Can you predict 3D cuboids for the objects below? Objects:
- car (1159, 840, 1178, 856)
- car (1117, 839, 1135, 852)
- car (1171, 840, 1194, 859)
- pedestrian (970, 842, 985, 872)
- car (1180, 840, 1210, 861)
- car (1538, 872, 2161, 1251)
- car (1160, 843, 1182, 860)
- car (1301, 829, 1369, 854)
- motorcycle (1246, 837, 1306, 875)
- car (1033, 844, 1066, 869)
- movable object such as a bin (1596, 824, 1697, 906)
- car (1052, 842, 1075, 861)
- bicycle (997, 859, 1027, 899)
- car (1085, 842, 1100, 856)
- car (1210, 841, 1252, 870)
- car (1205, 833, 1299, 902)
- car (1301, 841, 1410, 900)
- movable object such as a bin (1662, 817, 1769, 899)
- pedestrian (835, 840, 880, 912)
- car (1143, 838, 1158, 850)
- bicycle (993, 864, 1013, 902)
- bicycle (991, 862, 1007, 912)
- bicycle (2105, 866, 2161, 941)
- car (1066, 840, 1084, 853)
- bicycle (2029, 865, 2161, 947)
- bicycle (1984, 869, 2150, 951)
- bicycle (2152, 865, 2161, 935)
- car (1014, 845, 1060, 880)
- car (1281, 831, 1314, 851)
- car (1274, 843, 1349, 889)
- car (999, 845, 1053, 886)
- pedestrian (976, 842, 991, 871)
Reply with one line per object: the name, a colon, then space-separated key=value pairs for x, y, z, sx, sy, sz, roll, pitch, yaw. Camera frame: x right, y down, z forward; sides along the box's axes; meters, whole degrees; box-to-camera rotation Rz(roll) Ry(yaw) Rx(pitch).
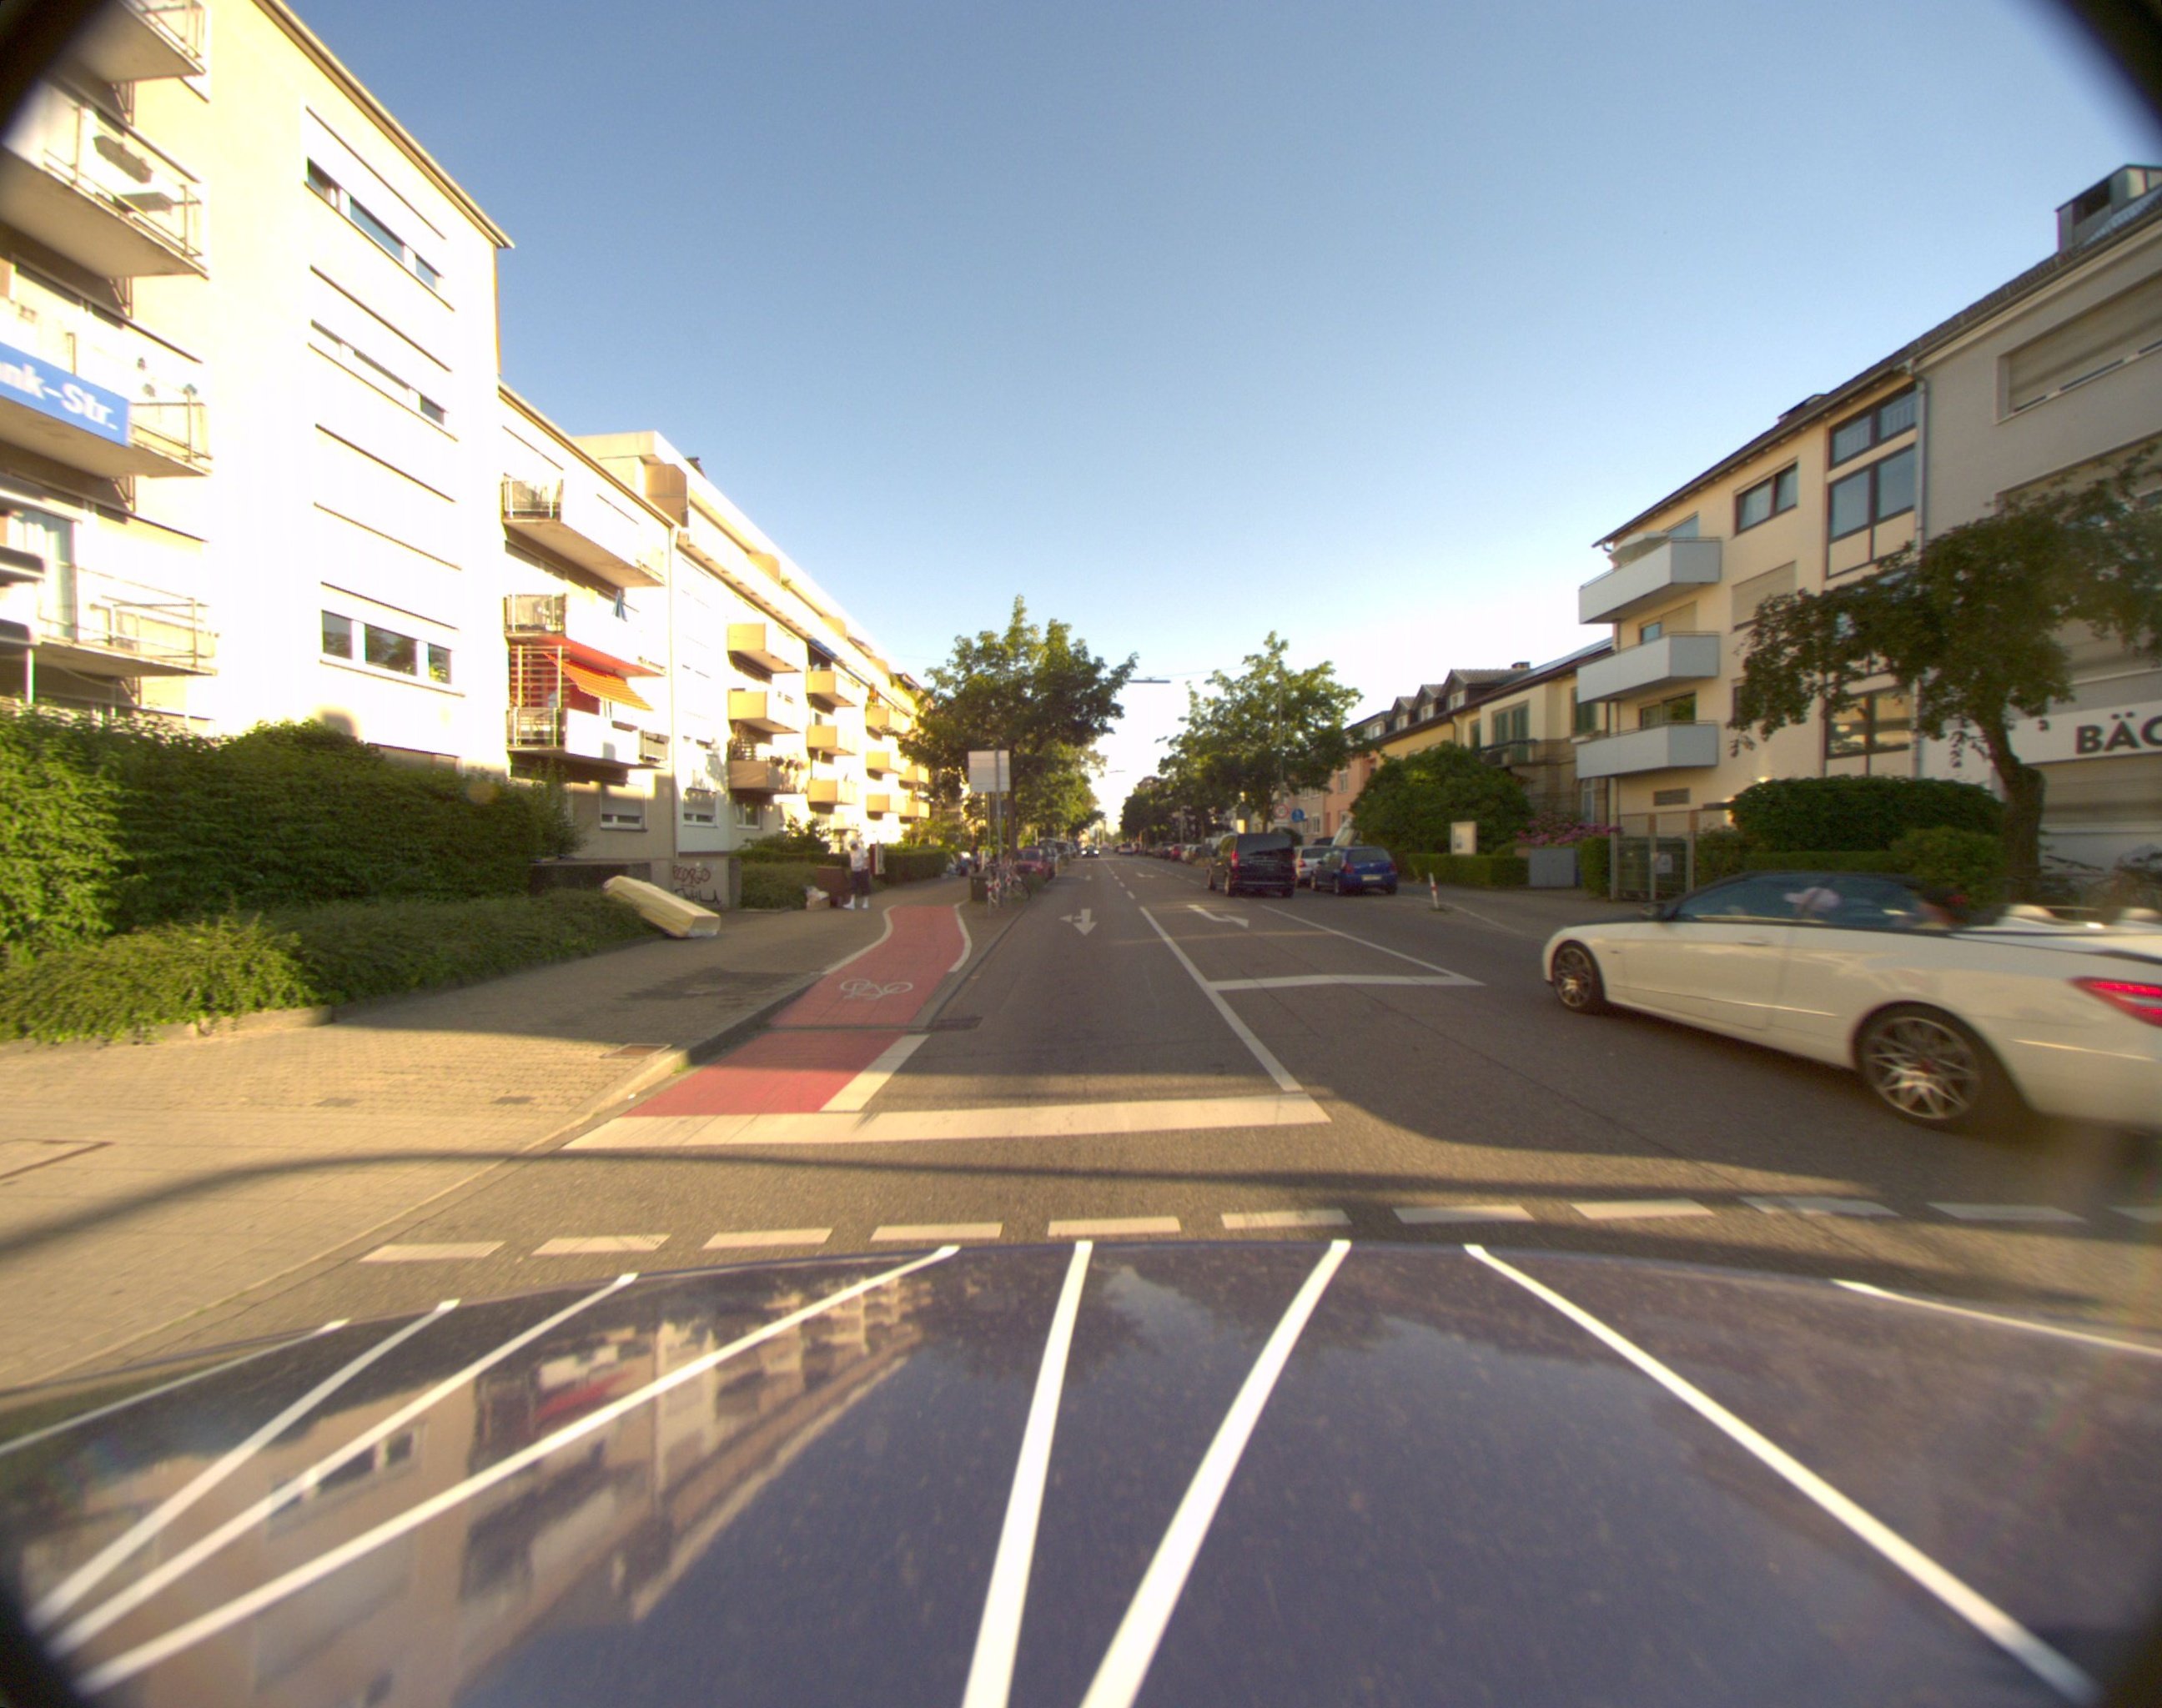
car: x=9.313 y=-0.625 z=81.137 sx=1.692 sy=1.657 sz=3.659 roll=-1 pitch=1 yaw=1
car: x=6.184 y=-1.200 z=104.634 sx=1.843 sy=1.605 sz=4.406 roll=-1 pitch=1 yaw=-6
car: x=8.972 y=-0.434 z=67.546 sx=1.642 sy=1.555 sz=3.659 roll=-1 pitch=1 yaw=1
pedestrian: x=-5.817 y=0.155 z=42.706 sx=0.659 sy=1.673 sz=0.831 roll=0 pitch=2 yaw=6
car: x=9.255 y=-0.343 z=61.794 sx=1.842 sy=1.605 sz=4.408 roll=-1 pitch=1 yaw=1
car: x=5.204 y=0.876 z=4.879 sx=1.846 sy=1.312 sz=4.440 roll=0 pitch=1 yaw=0
car: x=8.755 y=-0.271 z=74.060 sx=1.692 sy=1.555 sz=3.659 roll=-1 pitch=1 yaw=1
car: x=17.203 y=-0.847 z=51.422 sx=4.416 sy=1.605 sz=1.838 roll=-2 pitch=2 yaw=-30
motorcycle: x=8.250 y=0.056 z=32.366 sx=1.263 sy=1.526 sz=2.887 roll=-1 pitch=2 yaw=-13
car: x=-1.982 y=0.111 z=49.068 sx=1.744 sy=1.509 sz=3.810 roll=-1 pitch=1 yaw=3
movable object such as a bin: x=12.415 y=0.218 z=16.729 sx=1.309 sy=1.649 sz=1.180 roll=-4 pitch=3 yaw=0
car: x=-1.497 y=-0.248 z=65.882 sx=1.744 sy=1.509 sz=3.810 roll=-1 pitch=1 yaw=3
bicycle: x=-2.103 y=0.745 z=23.439 sx=0.324 sy=1.139 sz=1.802 roll=0 pitch=2 yaw=14
car: x=1.314 y=-0.559 z=86.738 sx=1.641 sy=1.482 sz=4.414 roll=0 pitch=1 yaw=0
car: x=8.758 y=0.037 z=44.652 sx=1.734 sy=1.605 sz=4.196 roll=-1 pitch=1 yaw=1
car: x=5.077 y=0.320 z=23.100 sx=1.842 sy=1.866 sz=4.408 roll=-1 pitch=1 yaw=0
car: x=8.263 y=0.418 z=23.247 sx=1.810 sy=1.605 sz=3.949 roll=-1 pitch=1 yaw=-2
movable object such as a bin: x=13.790 y=0.067 z=16.567 sx=1.309 sy=1.649 sz=1.180 roll=-4 pitch=3 yaw=0
pedestrian: x=-5.309 y=0.515 z=18.098 sx=0.830 sy=1.673 sz=0.660 roll=0 pitch=2 yaw=5
car: x=9.116 y=-1.307 z=99.640 sx=1.642 sy=1.555 sz=3.659 roll=-1 pitch=1 yaw=1
bicycle: x=-2.158 y=0.799 z=21.186 sx=0.325 sy=0.981 sz=1.191 roll=0 pitch=2 yaw=5
bicycle: x=-2.074 y=0.813 z=19.264 sx=0.325 sy=1.139 sz=1.799 roll=-1 pitch=2 yaw=-4
bicycle: x=15.231 y=0.707 z=10.409 sx=0.439 sy=1.009 sz=1.477 roll=-1 pitch=2 yaw=3
car: x=-0.659 y=-0.888 z=87.315 sx=1.744 sy=1.509 sz=3.810 roll=-1 pitch=1 yaw=3
bicycle: x=14.332 y=0.692 z=10.587 sx=0.439 sy=1.009 sz=1.477 roll=-1 pitch=2 yaw=3
bicycle: x=13.727 y=0.747 z=10.639 sx=0.439 sy=1.009 sz=1.477 roll=-1 pitch=2 yaw=3
bicycle: x=15.848 y=0.681 z=10.361 sx=0.439 sy=1.009 sz=1.477 roll=-1 pitch=2 yaw=3
car: x=-2.020 y=0.345 z=35.887 sx=1.744 sy=1.509 sz=3.810 roll=-1 pitch=1 yaw=3
car: x=17.990 y=-1.107 z=63.302 sx=1.841 sy=1.605 sz=4.410 roll=-1 pitch=1 yaw=6
car: x=8.354 y=0.379 z=27.836 sx=1.755 sy=1.526 sz=3.571 roll=-1 pitch=1 yaw=2
car: x=-2.177 y=0.414 z=31.072 sx=1.744 sy=1.509 sz=3.810 roll=-1 pitch=1 yaw=3
pedestrian: x=-5.686 y=0.132 z=44.271 sx=0.659 sy=1.673 sz=0.831 roll=0 pitch=2 yaw=6
